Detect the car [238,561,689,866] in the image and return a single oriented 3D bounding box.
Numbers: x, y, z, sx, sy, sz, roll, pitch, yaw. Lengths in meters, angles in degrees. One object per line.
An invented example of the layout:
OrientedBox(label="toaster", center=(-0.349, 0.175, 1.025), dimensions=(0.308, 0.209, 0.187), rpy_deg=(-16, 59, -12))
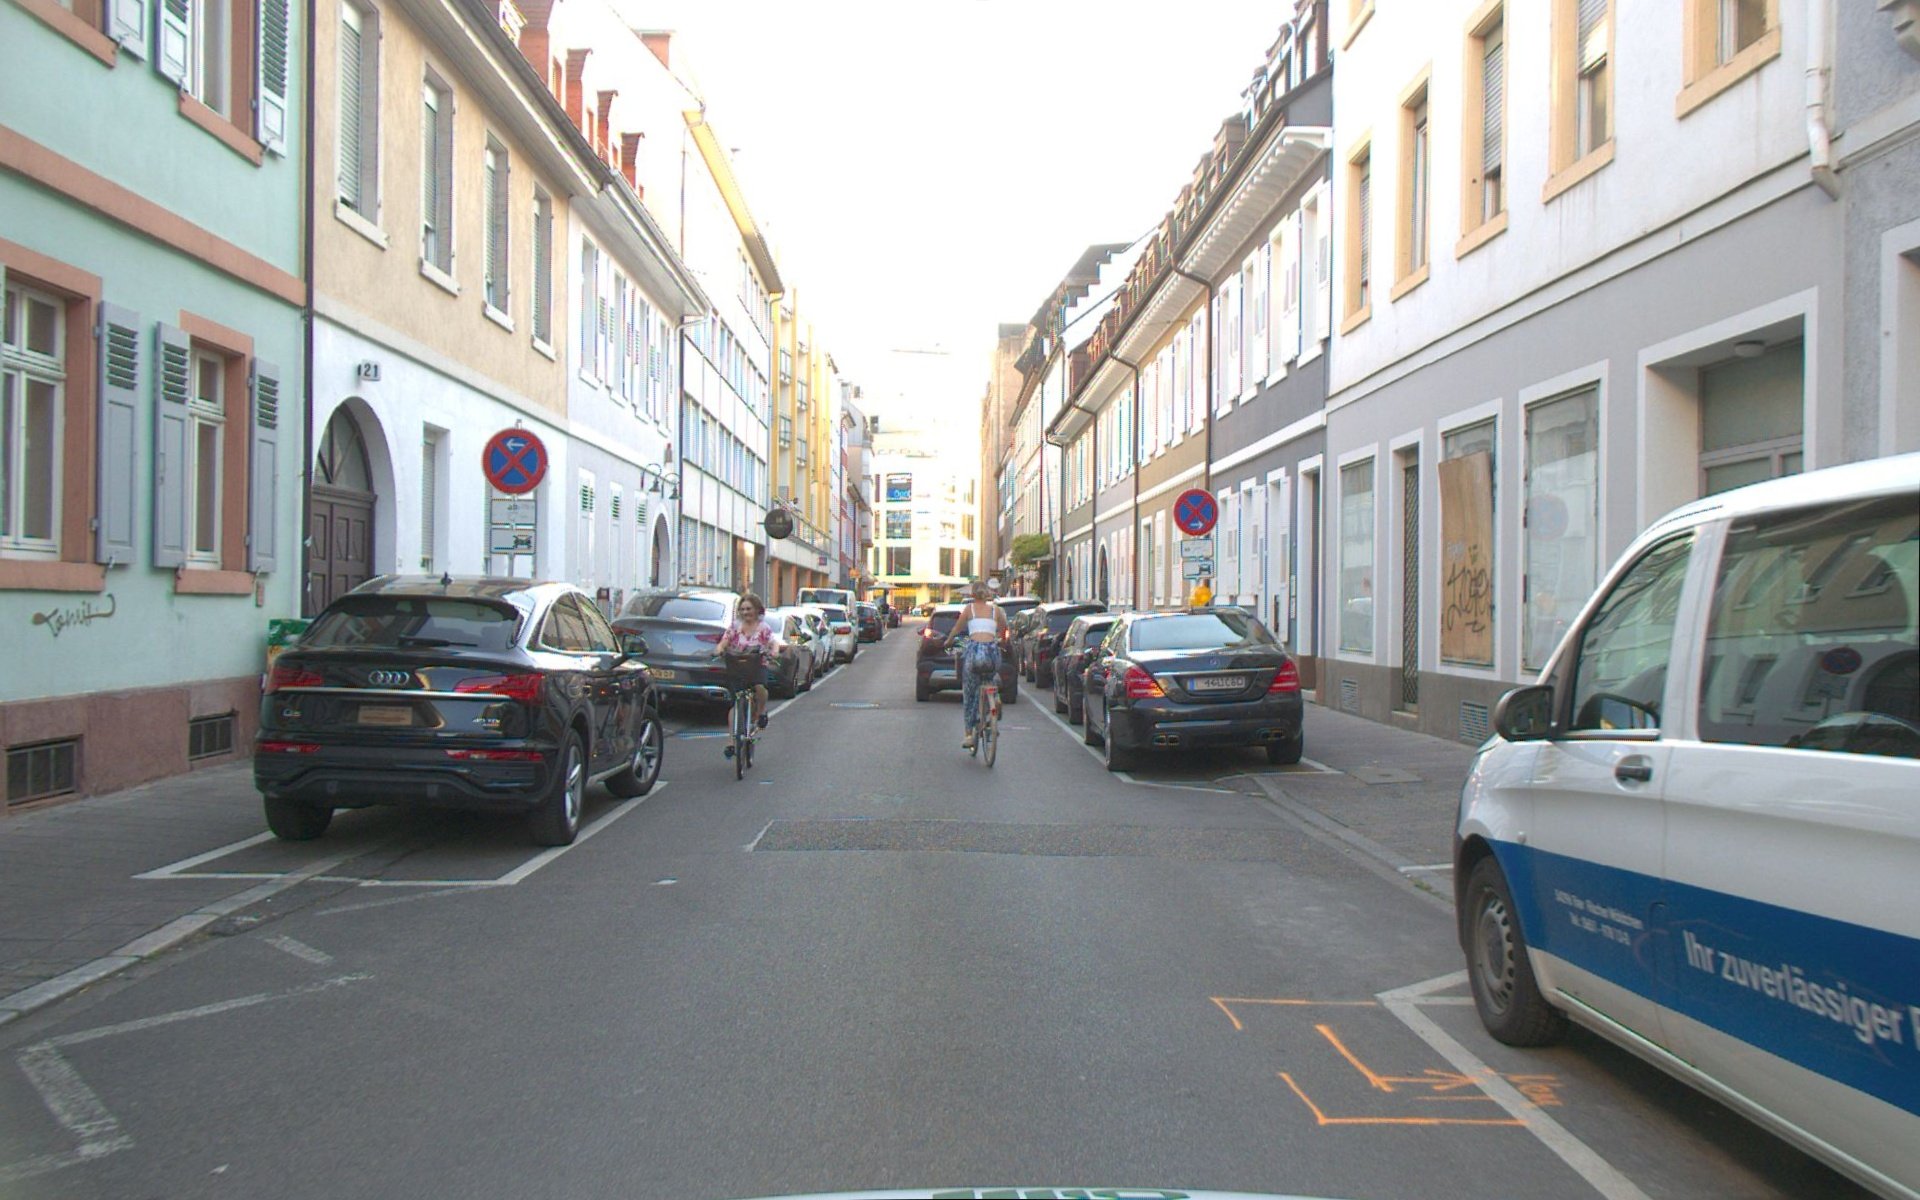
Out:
OrientedBox(label="car", center=(-3.158, 0.652, 11.553), dimensions=(1.766, 1.706, 4.489), rpy_deg=(0, 0, 0))

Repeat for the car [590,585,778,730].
OrientedBox(label="car", center=(-3.648, 0.721, 22.655), dimensions=(1.958, 1.737, 4.533), rpy_deg=(2, 0, -3))

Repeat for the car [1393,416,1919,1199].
OrientedBox(label="car", center=(2.790, 0.570, 3.987), dimensions=(1.902, 1.927, 5.315), rpy_deg=(-3, 0, -1))

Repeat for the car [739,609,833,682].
OrientedBox(label="car", center=(-3.691, 0.929, 35.565), dimensions=(1.620, 1.435, 3.901), rpy_deg=(2, 0, -1))

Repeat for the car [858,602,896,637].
OrientedBox(label="car", center=(-3.947, 0.932, 79.157), dimensions=(1.620, 1.588, 3.605), rpy_deg=(2, 0, -1))

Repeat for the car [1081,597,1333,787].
OrientedBox(label="car", center=(2.340, 0.819, 16.976), dimensions=(1.782, 1.556, 5.071), rpy_deg=(-3, 0, 0))

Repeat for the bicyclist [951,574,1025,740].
OrientedBox(label="bicyclist", center=(0.269, 0.554, 16.379), dimensions=(0.609, 1.602, 0.682), rpy_deg=(1, -1, -8))

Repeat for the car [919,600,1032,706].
OrientedBox(label="car", center=(0.201, 0.863, 28.560), dimensions=(1.783, 1.646, 3.999), rpy_deg=(2, 0, -2))

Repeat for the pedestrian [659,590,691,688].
OrientedBox(label="pedestrian", center=(-6.033, 0.824, 35.025), dimensions=(0.598, 2.049, 0.449), rpy_deg=(1, -1, -4))

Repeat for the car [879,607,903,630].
OrientedBox(label="car", center=(-5.005, 1.342, 120.276), dimensions=(1.620, 1.588, 3.605), rpy_deg=(2, 0, -1))

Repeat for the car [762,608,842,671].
OrientedBox(label="car", center=(-3.839, 0.938, 40.652), dimensions=(1.620, 1.435, 3.605), rpy_deg=(2, 0, -1))

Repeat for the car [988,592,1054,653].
OrientedBox(label="car", center=(1.659, 0.622, 46.182), dimensions=(1.620, 1.588, 3.605), rpy_deg=(2, 0, -1))

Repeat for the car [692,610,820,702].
OrientedBox(label="car", center=(-3.532, 0.935, 29.288), dimensions=(1.880, 1.459, 4.291), rpy_deg=(2, 0, -3))

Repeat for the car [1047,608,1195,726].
OrientedBox(label="car", center=(2.236, 0.892, 23.868), dimensions=(1.642, 1.512, 3.999), rpy_deg=(2, 0, -1))

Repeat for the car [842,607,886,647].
OrientedBox(label="car", center=(-3.932, 1.090, 68.157), dimensions=(1.620, 1.588, 3.605), rpy_deg=(2, 0, -1))

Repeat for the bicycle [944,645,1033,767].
OrientedBox(label="bicycle", center=(0.260, 1.025, 16.471), dimensions=(0.602, 1.101, 1.806), rpy_deg=(1, -1, -8))

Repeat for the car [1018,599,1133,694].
OrientedBox(label="car", center=(2.304, 0.912, 33.970), dimensions=(1.879, 1.768, 4.151), rpy_deg=(2, 0, -2))

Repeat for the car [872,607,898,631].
OrientedBox(label="car", center=(-5.127, 1.290, 113.503), dimensions=(1.620, 1.588, 3.605), rpy_deg=(2, 0, -1))

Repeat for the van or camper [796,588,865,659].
OrientedBox(label="van or camper", center=(-3.974, 0.721, 51.399), dimensions=(1.807, 2.048, 4.677), rpy_deg=(2, 0, -1))

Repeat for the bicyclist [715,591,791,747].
OrientedBox(label="bicyclist", center=(-1.898, 0.624, 15.218), dimensions=(0.593, 1.393, 0.621), rpy_deg=(1, -1, 1))

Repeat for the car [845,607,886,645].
OrientedBox(label="car", center=(-4.150, 1.147, 73.299), dimensions=(1.620, 1.588, 3.605), rpy_deg=(2, 0, -1))

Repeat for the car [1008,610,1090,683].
OrientedBox(label="car", center=(2.044, 1.050, 38.715), dimensions=(1.620, 1.588, 3.605), rpy_deg=(2, 0, -1))

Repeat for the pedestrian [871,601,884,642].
OrientedBox(label="pedestrian", center=(-3.597, 0.931, 72.105), dimensions=(0.543, 1.783, 0.568), rpy_deg=(1, -1, -4))

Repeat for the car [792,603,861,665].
OrientedBox(label="car", center=(-3.643, 0.914, 45.636), dimensions=(1.620, 1.588, 3.605), rpy_deg=(2, 0, -1))

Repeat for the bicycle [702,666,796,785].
OrientedBox(label="bicycle", center=(-1.899, 1.111, 15.099), dimensions=(0.601, 0.949, 1.886), rpy_deg=(1, 0, 0))
